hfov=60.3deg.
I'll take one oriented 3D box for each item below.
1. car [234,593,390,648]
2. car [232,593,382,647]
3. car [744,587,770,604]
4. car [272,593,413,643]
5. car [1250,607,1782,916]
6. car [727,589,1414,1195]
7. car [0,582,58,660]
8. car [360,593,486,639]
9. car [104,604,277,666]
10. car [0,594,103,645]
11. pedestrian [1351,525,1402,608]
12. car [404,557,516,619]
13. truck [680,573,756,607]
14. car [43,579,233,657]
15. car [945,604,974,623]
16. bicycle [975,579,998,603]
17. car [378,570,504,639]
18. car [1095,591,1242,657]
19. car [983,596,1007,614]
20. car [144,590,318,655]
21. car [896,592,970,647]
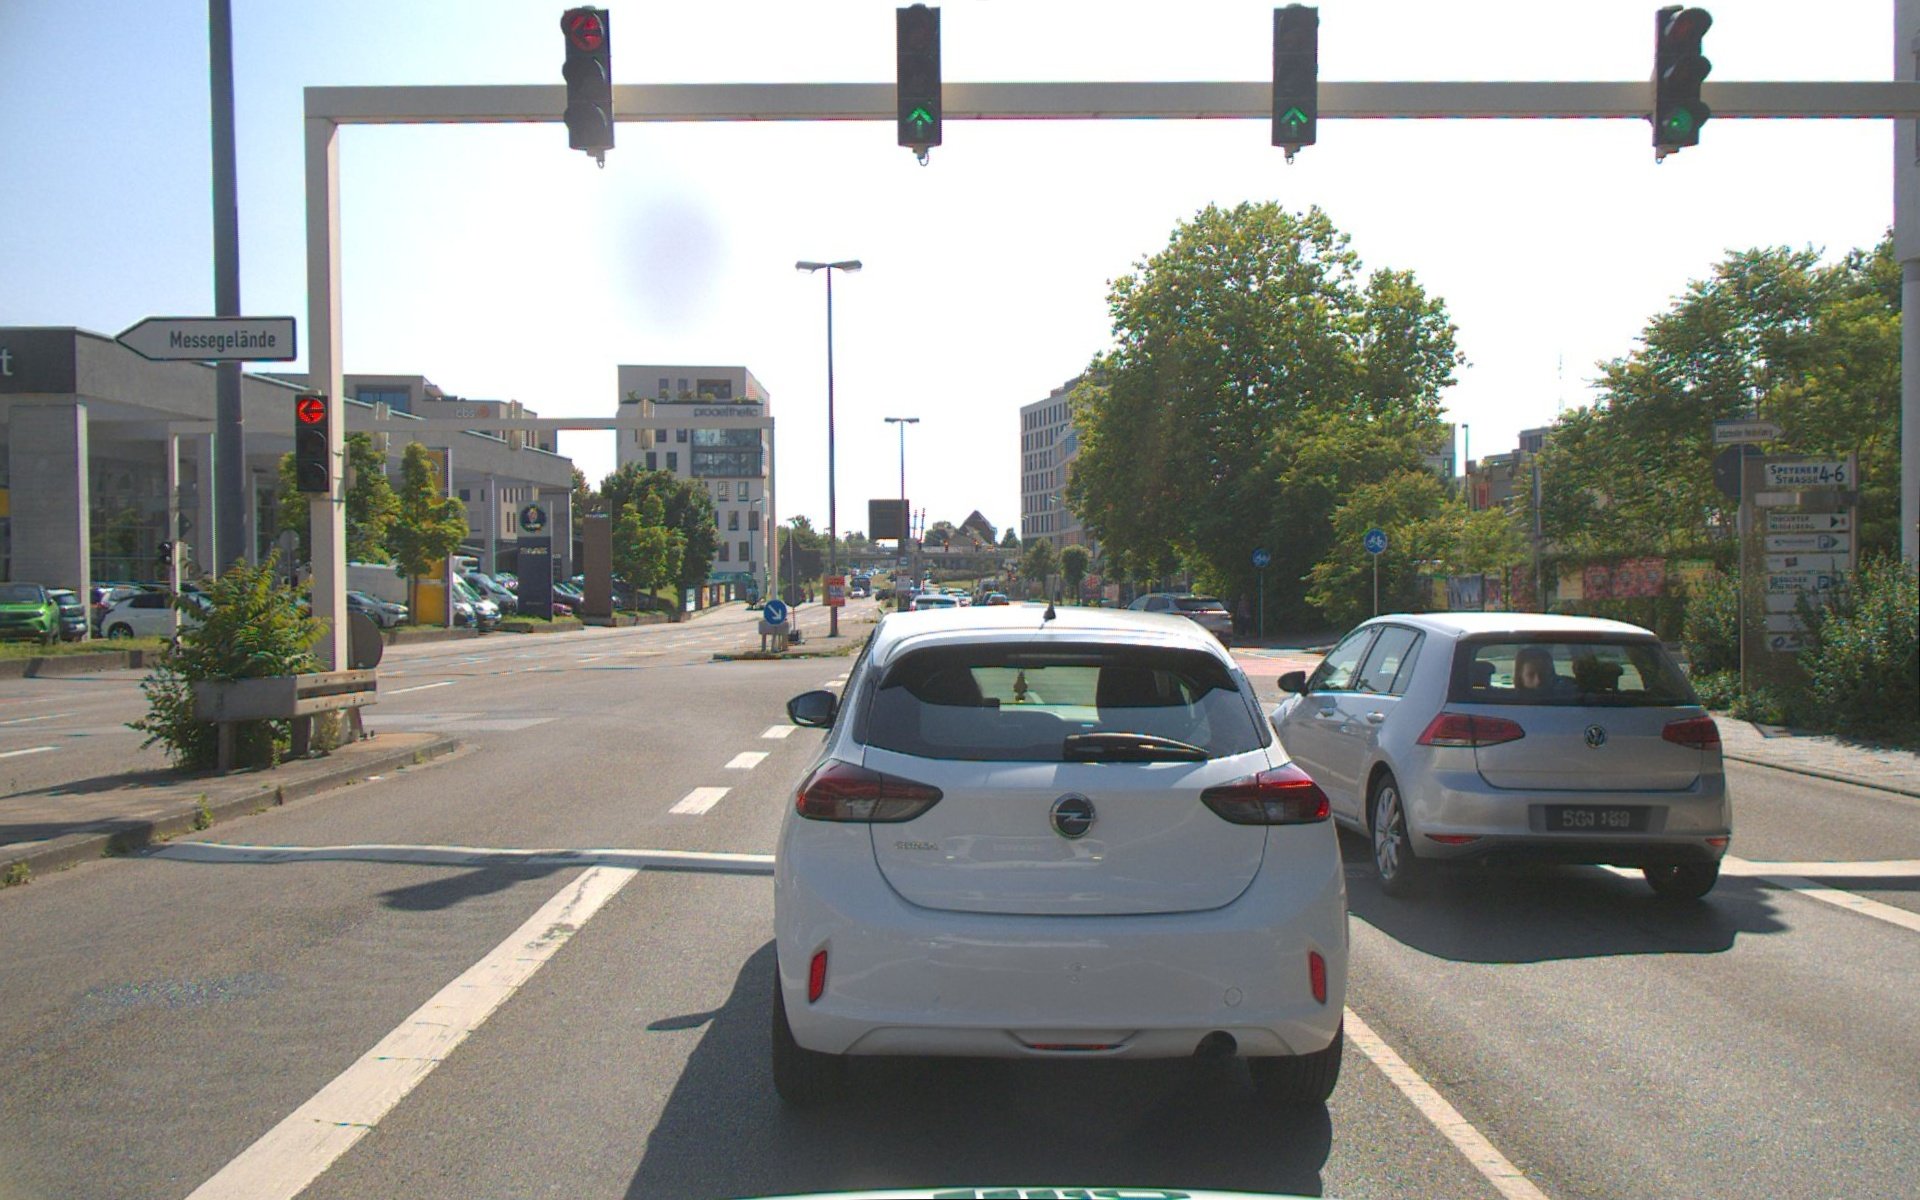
[{"bbox_3d":[-20.992,0.654,53.716,4.270,1.726,1.999,0,0,-3],"label":"car"},{"bbox_3d":[-22.015,0.648,55.930,4.270,1.726,1.999,-1,0,-4],"label":"car"},{"bbox_3d":[-17.411,-0.351,141.810,1.769,1.410,3.999,1,-1,-1],"label":"car"},{"bbox_3d":[-22.034,0.626,59.153,4.270,1.726,1.999,-1,0,-4],"label":"car"},{"bbox_3d":[3.010,0.779,9.901,1.770,1.454,3.999,-1,0,-1],"label":"car"},{"bbox_3d":[0.253,0.733,6.216,1.743,1.520,3.999,-1,0,-1],"label":"car"},{"bbox_3d":[-22.542,0.521,38.897,1.887,1.764,3.250,-1,-1,-37],"label":"car"},{"bbox_3d":[-21.036,0.604,64.912,4.268,1.726,2.000,-1,0,-1],"label":"car"},{"bbox_3d":[-21.334,0.961,45.983,3.912,1.627,1.997,-1,0,-8],"label":"car"},{"bbox_3d":[-26.243,0.568,45.479,4.276,1.290,1.996,-2,-2,-9],"label":"car"},{"bbox_3d":[10.479,-0.829,41.667,1.006,2.049,1.038,0,0,-1],"label":"pedestrian"},{"bbox_3d":[-21.949,-0.529,72.661,4.265,2.646,2.001,-1,0,4],"label":"car"},{"bbox_3d":[-28.914,-1.178,197.518,8.897,3.901,3.074,-1,0,-11],"label":"truck"},{"bbox_3d":[-20.710,0.432,41.791,3.793,1.870,1.999,-1,0,-4],"label":"car"},{"bbox_3d":[-0.058,1.043,123.584,1.954,1.355,3.997,1,-1,-3],"label":"car"},{"bbox_3d":[2.469,-0.860,155.537,1.953,2.195,3.999,-1,0,-1],"label":"bicycle"},{"bbox_3d":[-21.106,0.189,67.360,4.401,2.731,2.130,-1,0,8],"label":"car"},{"bbox_3d":[5.274,0.576,42.414,1.964,1.578,4.407,-1,0,-20],"label":"car"},{"bbox_3d":[2.866,0.387,135.111,1.769,1.410,3.999,1,-1,-1],"label":"car"},{"bbox_3d":[-21.368,0.638,48.632,4.211,1.796,1.999,-1,0,-4],"label":"car"},{"bbox_3d":[-0.811,0.526,46.951,1.954,1.472,4.368,0,0,-3],"label":"car"}]
